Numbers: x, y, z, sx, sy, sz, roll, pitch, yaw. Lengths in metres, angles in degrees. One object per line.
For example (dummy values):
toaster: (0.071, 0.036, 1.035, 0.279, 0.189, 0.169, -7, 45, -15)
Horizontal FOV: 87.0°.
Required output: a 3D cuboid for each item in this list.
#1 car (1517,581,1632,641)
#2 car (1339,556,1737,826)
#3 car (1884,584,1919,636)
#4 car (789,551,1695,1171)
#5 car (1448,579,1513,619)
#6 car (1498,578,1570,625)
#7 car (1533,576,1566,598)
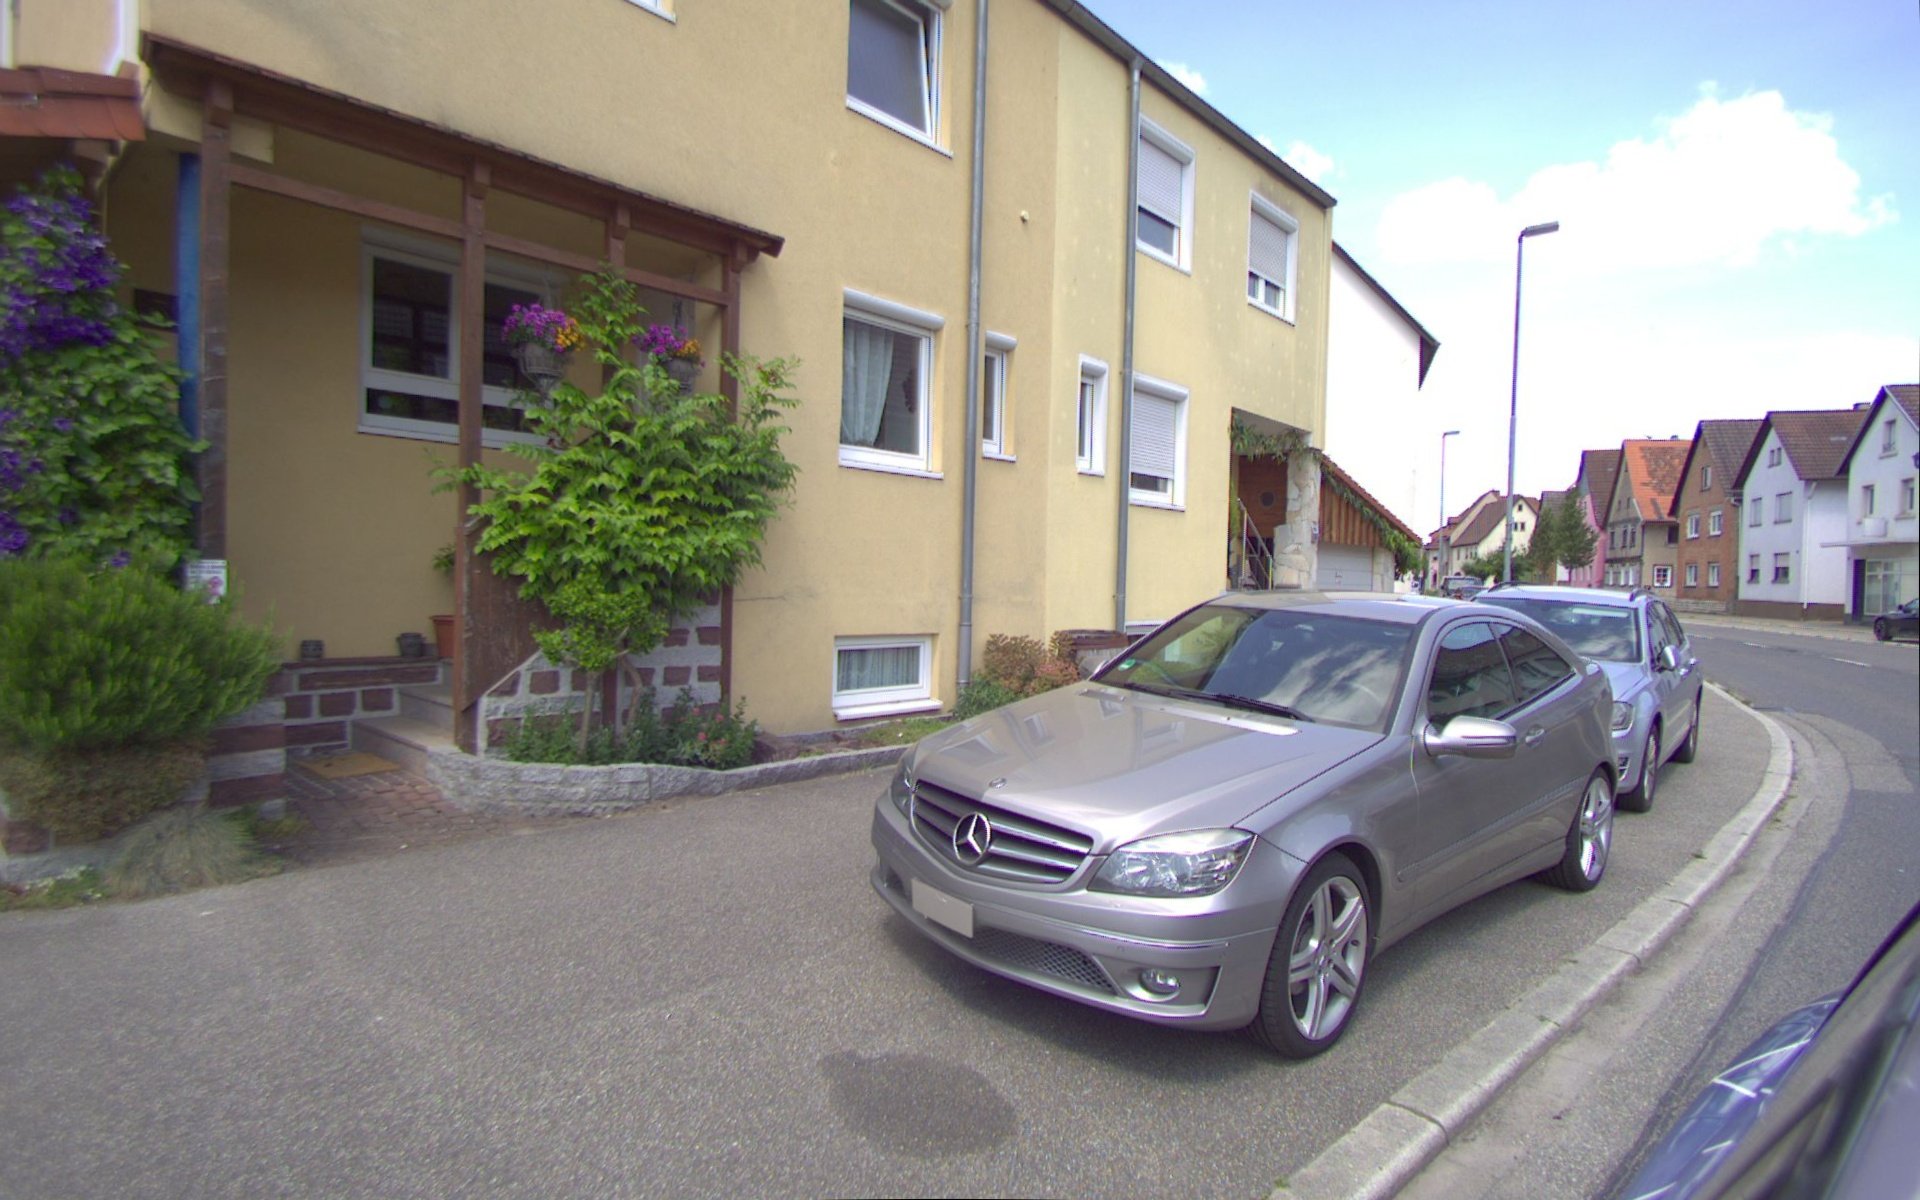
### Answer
car: (17.059, 0.251, 28.287, 1.704, 1.402, 3.981, 2, 3, 16)
car: (4.931, 0.500, 8.322, 1.885, 1.548, 4.269, 5, 4, 42)
car: (27.568, 0.282, 27.778, 1.789, 1.438, 4.516, 0, 0, 22)
car: (1.585, 0.542, 4.508, 4.349, 1.416, 1.774, -2, 6, -42)
car: (23.195, -0.073, 45.203, 1.641, 1.668, 3.985, 0, 1, 13)
car: (20.205, 0.070, 35.750, 1.754, 1.549, 3.967, 1, 0, 23)
car: (43.429, -0.955, 74.615, 1.665, 1.549, 3.474, 0, 2, 22)
